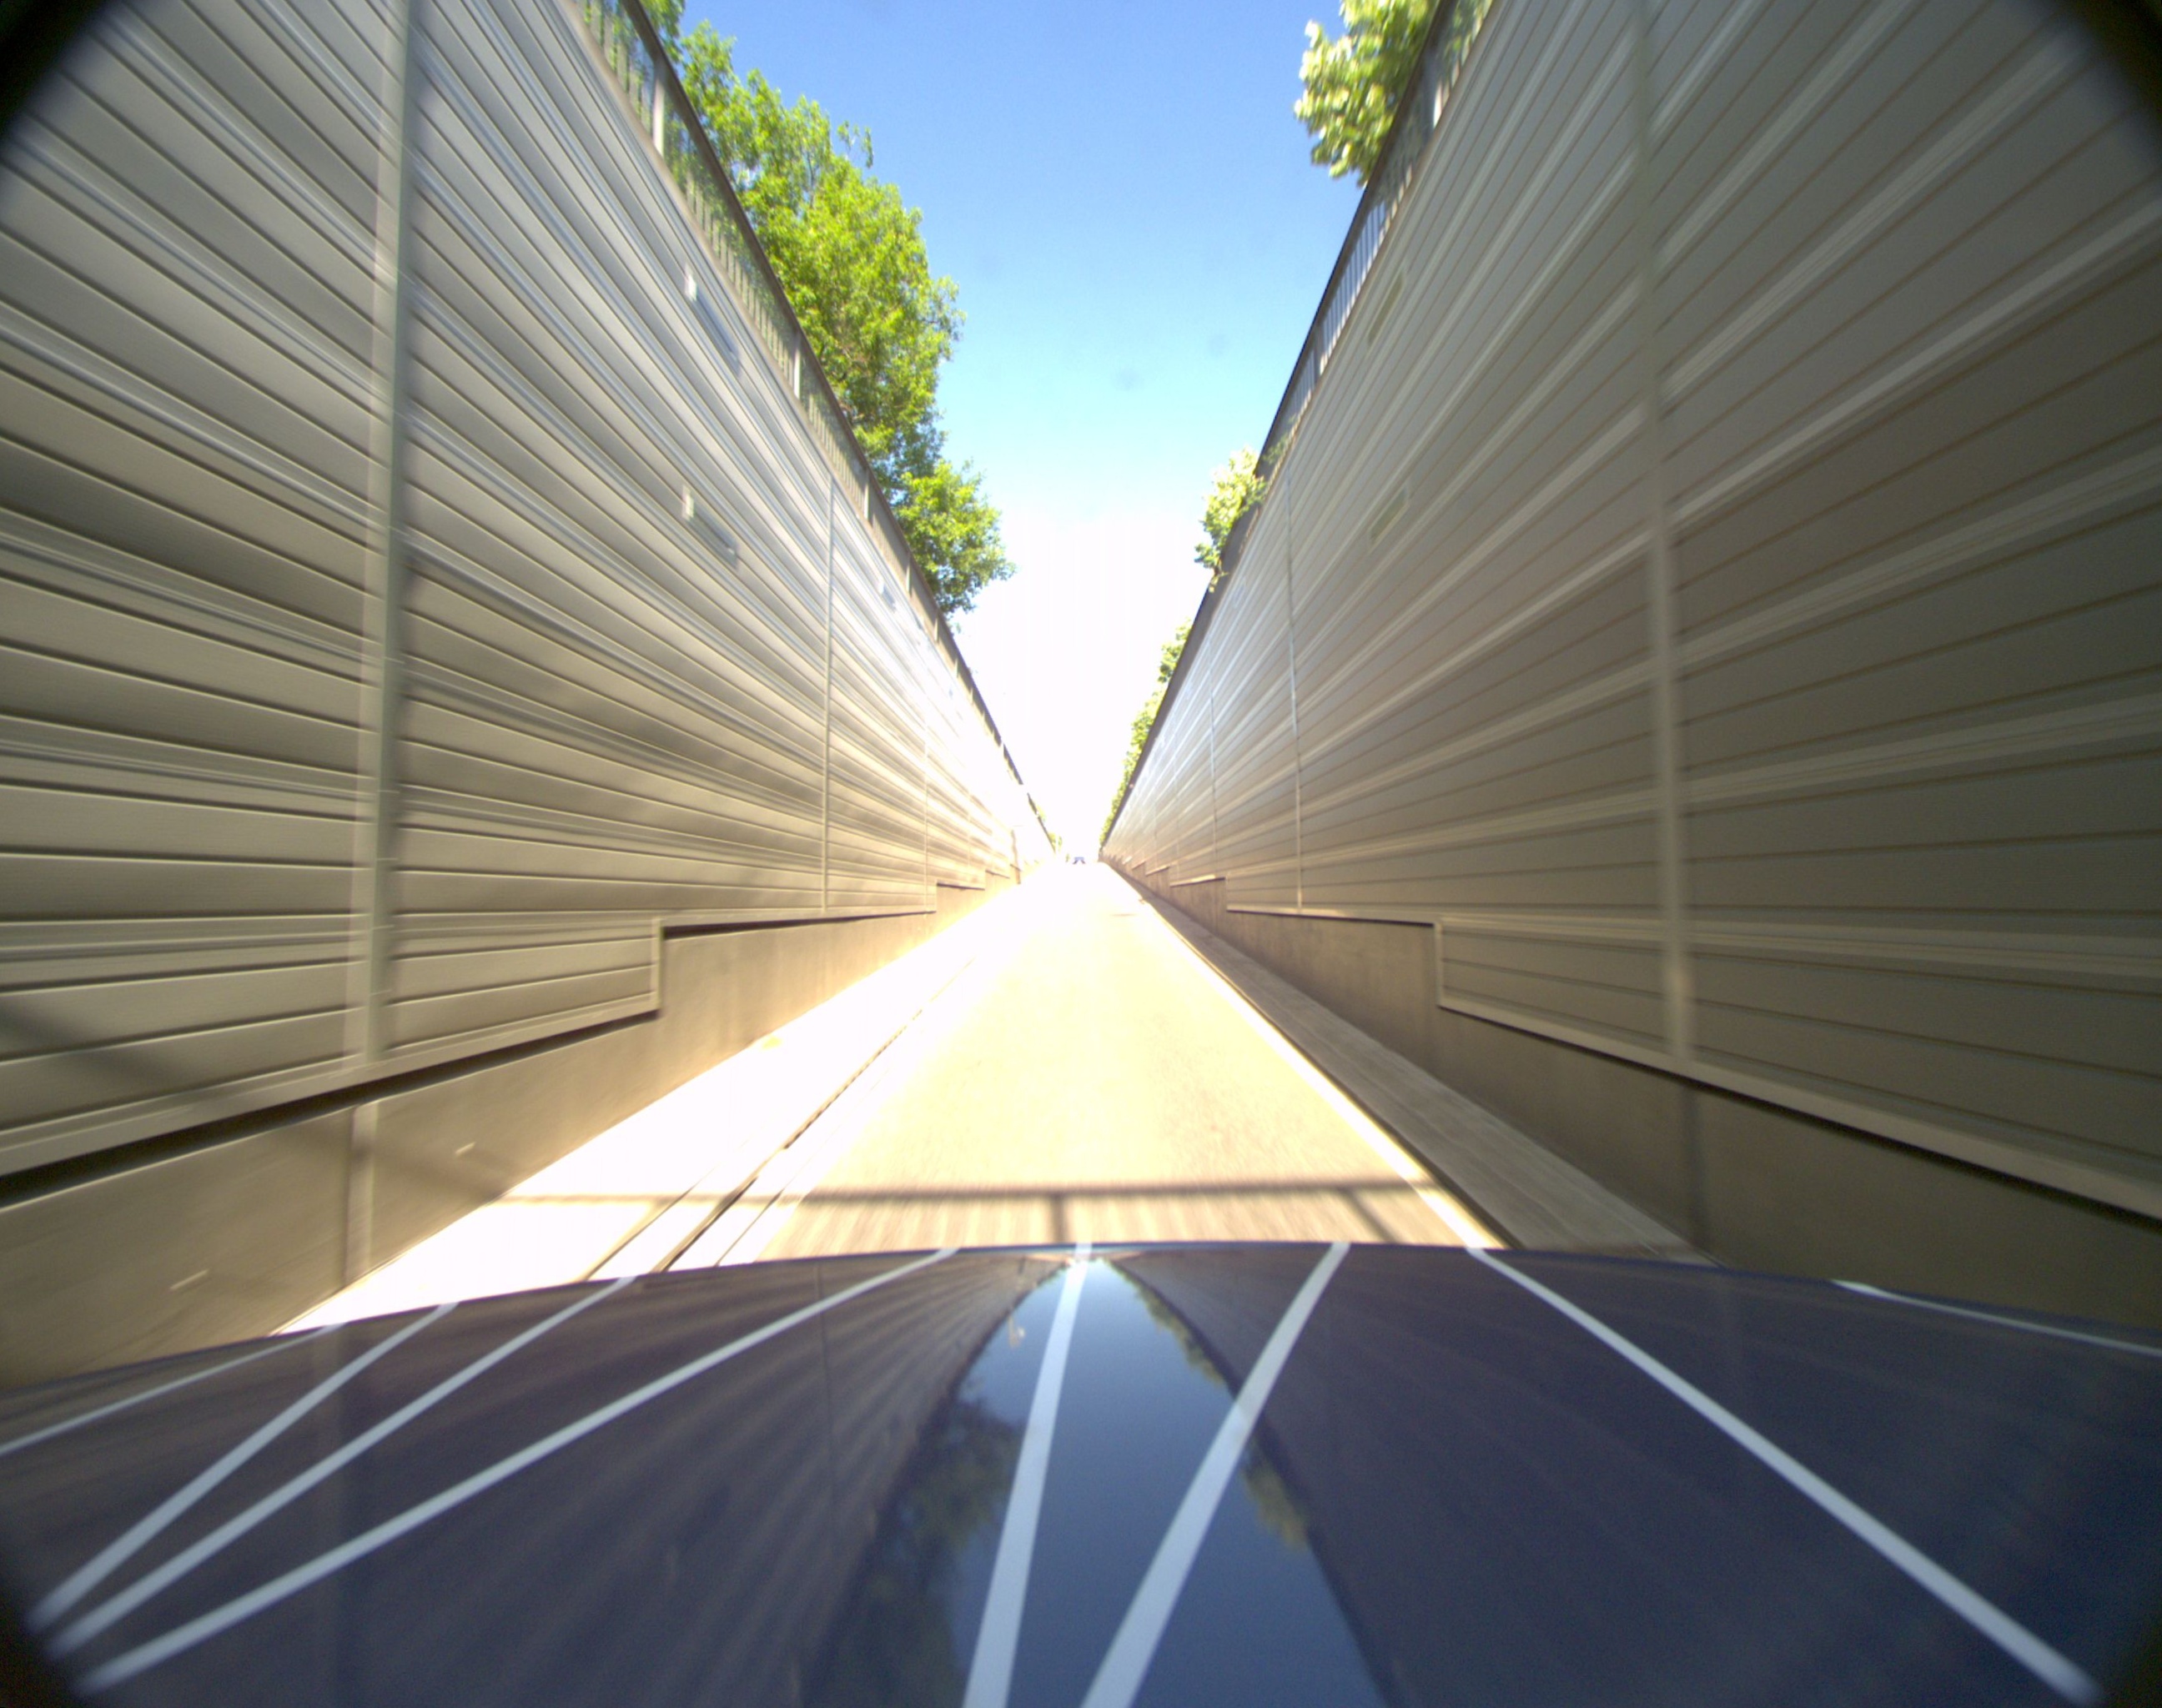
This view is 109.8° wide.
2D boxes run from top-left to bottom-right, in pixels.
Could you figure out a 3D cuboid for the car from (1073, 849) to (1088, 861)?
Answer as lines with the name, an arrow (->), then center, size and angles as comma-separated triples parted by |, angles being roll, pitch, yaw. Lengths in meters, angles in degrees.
car -> -0.087, 0.184, 98.433 | 1.829, 1.327, 4.002 | -1, -3, 1
